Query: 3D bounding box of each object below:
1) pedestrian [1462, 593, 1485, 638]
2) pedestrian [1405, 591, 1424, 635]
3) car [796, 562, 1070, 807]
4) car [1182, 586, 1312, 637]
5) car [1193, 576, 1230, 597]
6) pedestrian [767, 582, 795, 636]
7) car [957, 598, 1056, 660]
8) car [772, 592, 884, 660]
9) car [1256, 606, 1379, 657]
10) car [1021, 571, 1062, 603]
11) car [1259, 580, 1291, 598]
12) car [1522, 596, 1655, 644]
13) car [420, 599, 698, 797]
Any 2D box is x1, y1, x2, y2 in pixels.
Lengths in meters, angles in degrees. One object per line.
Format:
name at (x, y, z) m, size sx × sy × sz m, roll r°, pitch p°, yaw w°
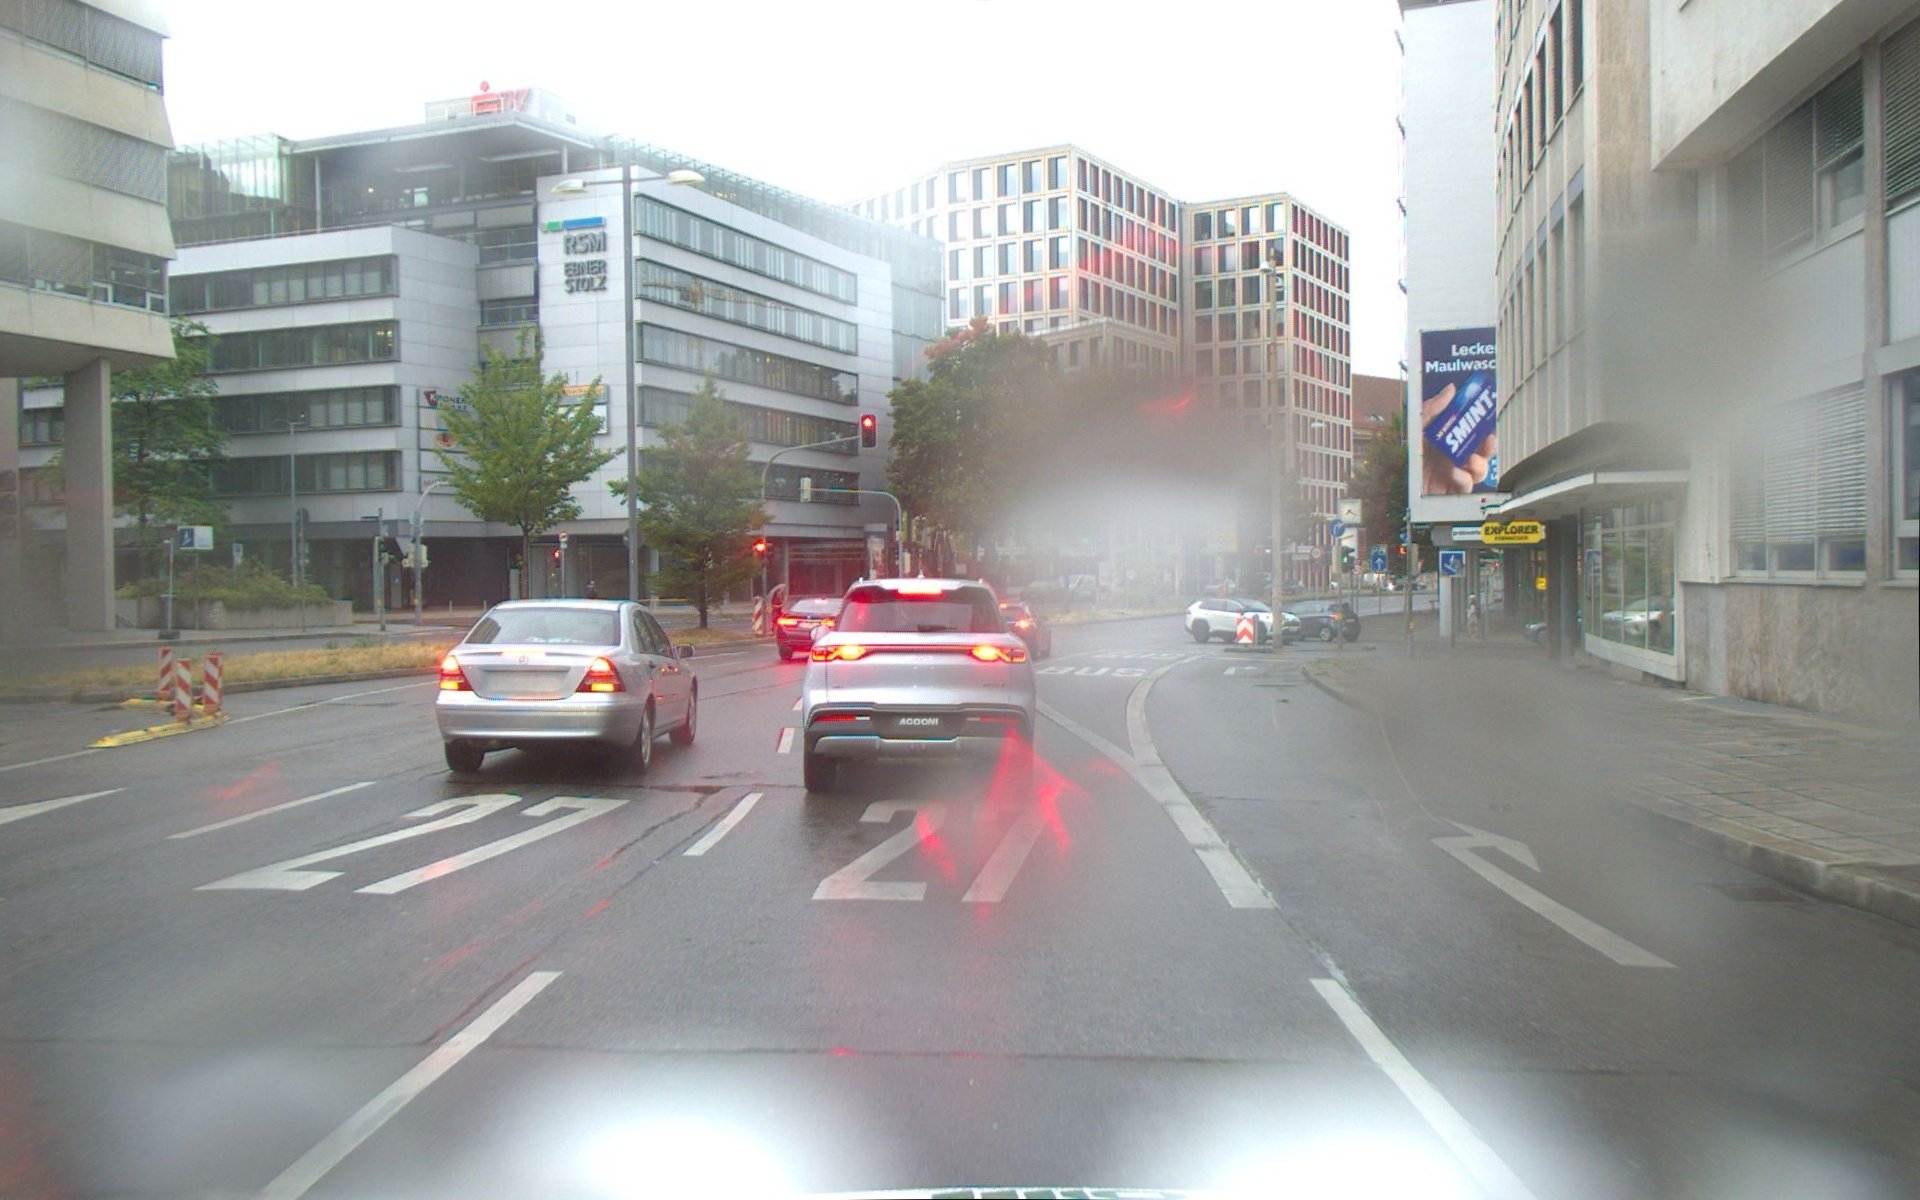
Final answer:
pedestrian at (19.830, 0.600, 63.882) m, size 0.751 × 1.707 × 0.729 m, roll 0°, pitch 0°, yaw 24°
pedestrian at (17.779, 0.508, 64.724) m, size 0.712 × 1.698 × 0.691 m, roll 0°, pitch -1°, yaw 16°
car at (-0.279, 0.588, 14.044) m, size 1.953 × 1.739 × 4.480 m, roll 0°, pitch 0°, yaw -2°
car at (10.495, 0.380, 60.690) m, size 1.983 × 1.780 × 4.461 m, roll 0°, pitch 1°, yaw -42°
car at (22.321, -1.225, 146.845) m, size 1.955 × 1.735 × 4.303 m, roll 1°, pitch 2°, yaw 28°
pedestrian at (-5.952, 0.299, 55.014) m, size 0.903 × 1.768 × 0.729 m, roll 0°, pitch 0°, yaw -4°
car at (1.274, 0.721, 43.446) m, size 1.913 × 1.557 × 4.003 m, roll 0°, pitch 0°, yaw 12°
car at (-3.160, 0.606, 40.418) m, size 1.913 × 1.557 × 4.003 m, roll 0°, pitch 0°, yaw 7°
car at (13.912, 1.197, 64.538) m, size 2.038 × 1.796 × 4.286 m, roll 1°, pitch 1°, yaw -44°
car at (5.852, -0.937, 117.968) m, size 1.701 × 2.199 × 4.495 m, roll 1°, pitch 0°, yaw 19°
car at (31.500, -1.132, 165.485) m, size 1.955 × 1.735 × 4.303 m, roll 1°, pitch 2°, yaw 28°
car at (22.009, 0.696, 58.094) m, size 4.252 × 1.536 × 1.917 m, roll 1°, pitch 0°, yaw 19°
car at (-3.445, 0.760, 14.941) m, size 1.648 × 1.512 × 4.194 m, roll 0°, pitch 0°, yaw -2°
